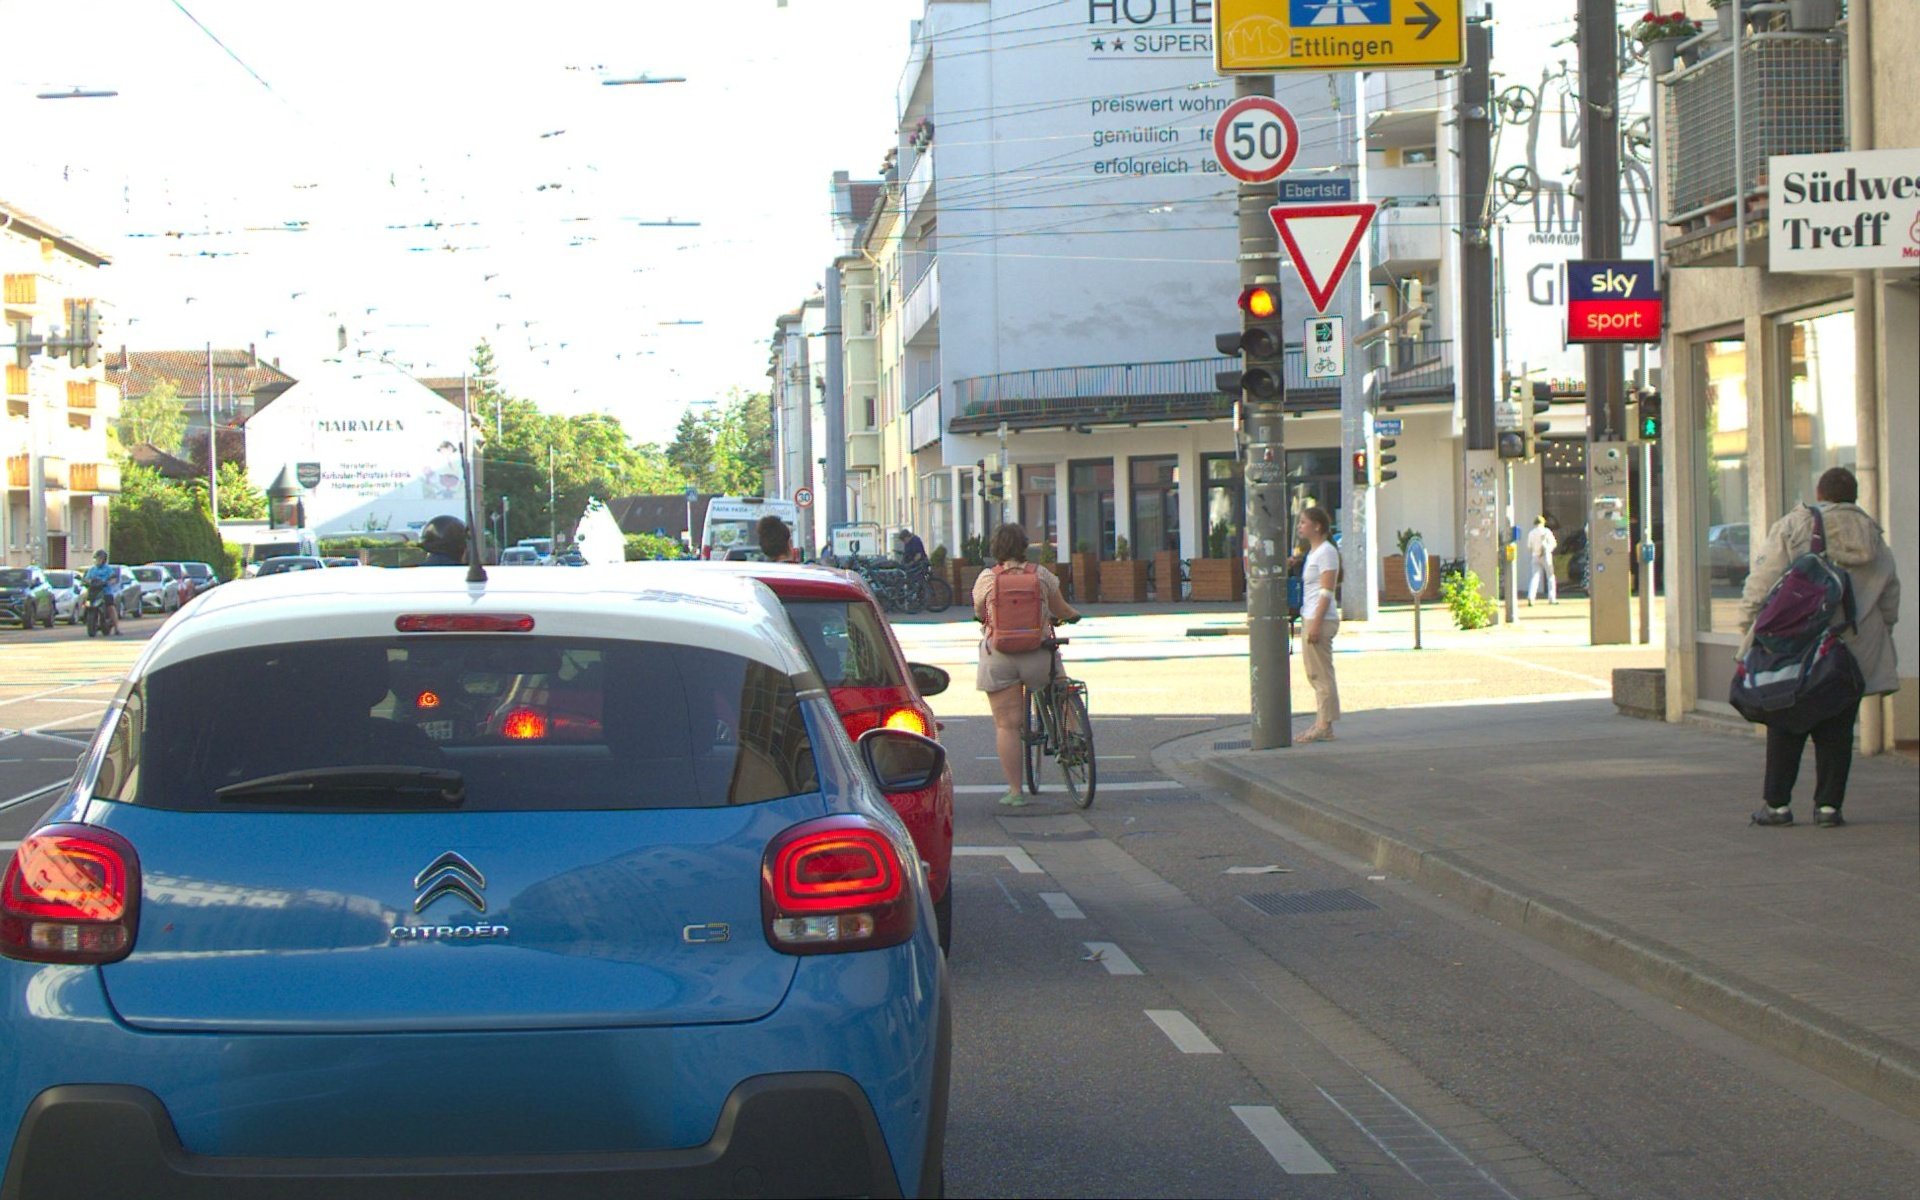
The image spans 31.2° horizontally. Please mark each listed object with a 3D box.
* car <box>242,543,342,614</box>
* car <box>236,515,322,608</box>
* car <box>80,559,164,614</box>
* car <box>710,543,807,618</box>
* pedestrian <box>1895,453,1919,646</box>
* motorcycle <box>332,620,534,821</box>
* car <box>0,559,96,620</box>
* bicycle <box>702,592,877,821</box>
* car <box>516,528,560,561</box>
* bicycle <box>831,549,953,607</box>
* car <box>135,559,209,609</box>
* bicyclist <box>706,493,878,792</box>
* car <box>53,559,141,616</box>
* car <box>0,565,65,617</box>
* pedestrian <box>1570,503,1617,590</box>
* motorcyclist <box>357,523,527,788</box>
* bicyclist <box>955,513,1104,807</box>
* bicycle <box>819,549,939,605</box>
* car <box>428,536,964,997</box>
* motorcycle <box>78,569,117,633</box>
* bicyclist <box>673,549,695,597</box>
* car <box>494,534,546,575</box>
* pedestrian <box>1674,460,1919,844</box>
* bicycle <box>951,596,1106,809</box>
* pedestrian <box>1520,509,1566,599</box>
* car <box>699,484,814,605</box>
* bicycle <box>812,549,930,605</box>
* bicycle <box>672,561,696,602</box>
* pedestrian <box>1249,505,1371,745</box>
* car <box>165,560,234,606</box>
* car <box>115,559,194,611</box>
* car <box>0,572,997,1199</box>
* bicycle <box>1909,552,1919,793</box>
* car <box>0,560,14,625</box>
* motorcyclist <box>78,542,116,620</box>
[{"bbox_3d":[-14.820,-0.488,76.433,1.778,1.481,3.829,-2,1,-5],"label":"car"},{"bbox_3d":[-23.557,-1.322,119.044,2.417,3.131,3.489,1,0,-3],"label":"car"},{"bbox_3d":[-24.971,-0.416,102.563,1.869,1.571,4.001,1,1,-6],"label":"car"},{"bbox_3d":[-4.001,-0.399,67.844,1.657,1.426,3.889,1,1,-7],"label":"car"},{"bbox_3d":[5.746,-0.295,19.348,0.623,1.084,0.679,-3,2,-37],"label":"pedestrian"},{"bbox_3d":[-2.965,0.656,19.532,0.855,1.043,1.942,1,1,-1],"label":"motorcycle"},{"bbox_3d":[-24.394,-0.303,92.077,1.869,1.571,4.001,1,1,-6],"label":"car"},{"bbox_3d":[-0.962,0.578,19.810,0.940,1.219,2.095,1,1,-2],"label":"bicycle"},{"bbox_3d":[-23.020,-3.027,187.834,2.074,1.756,5.037,1,1,-4],"label":"car"},{"bbox_3d":[-1.304,-0.426,65.811,2.251,0.998,0.856,-3,1,-5],"label":"bicycle"},{"bbox_3d":[-25.830,-0.530,112.748,1.869,1.571,4.001,1,1,-6],"label":"car"},{"bbox_3d":[-0.962,0.234,19.888,0.940,1.667,1.079,1,0,-2],"label":"bicyclist"},{"bbox_3d":[-24.606,-0.366,98.137,1.869,1.571,4.001,1,1,-6],"label":"car"},{"bbox_3d":[-23.801,-0.242,86.090,1.946,1.235,4.283,1,1,-5],"label":"car"},{"bbox_3d":[11.644,-0.982,63.202,0.611,1.603,0.668,1,0,34],"label":"pedestrian"},{"bbox_3d":[-2.966,0.307,19.742,0.855,1.483,0.729,1,0,-1],"label":"motorcyclist"},{"bbox_3d":[0.420,0.343,20.323,0.811,1.686,0.935,1,0,4],"label":"bicyclist"},{"bbox_3d":[-1.594,-0.454,67.178,2.251,0.998,0.856,-3,1,-5],"label":"bicycle"},{"bbox_3d":[-1.060,0.534,13.488,1.784,1.516,3.763,1,1,-5],"label":"car"},{"bbox_3d":[-16.803,0.028,66.983,0.711,1.216,1.966,-1,-1,-14],"label":"motorcycle"},{"bbox_3d":[-11.480,-1.124,143.050,0.791,2.018,0.986,1,0,1],"label":"bicyclist"},{"bbox_3d":[-21.740,-2.245,169.969,2.218,1.925,4.950,1,1,-4],"label":"car"},{"bbox_3d":[3.741,0.208,15.095,0.884,1.586,0.811,-4,2,-8],"label":"pedestrian"},{"bbox_3d":[0.431,0.579,20.517,0.811,1.177,2.064,1,1,4],"label":"bicycle"},{"bbox_3d":[10.382,-0.817,61.195,0.610,1.603,0.668,1,0,27],"label":"pedestrian"},{"bbox_3d":[-4.345,-1.164,72.823,2.265,2.473,5.009,0,1,-5],"label":"car"},{"bbox_3d":[-1.770,-0.461,68.292,2.251,0.998,0.856,-3,1,-5],"label":"bicycle"},{"bbox_3d":[-11.484,-0.783,143.051,0.791,1.664,2.230,1,0,1],"label":"bicycle"},{"bbox_3d":[2.459,0.170,24.114,0.540,1.618,0.732,-5,-1,21],"label":"pedestrian"},{"bbox_3d":[-26.303,-0.600,118.977,1.869,1.571,4.001,1,1,-6],"label":"car"},{"bbox_3d":[-25.225,-0.472,107.743,1.869,1.571,4.001,1,1,-6],"label":"car"},{"bbox_3d":[-0.825,0.676,7.185,1.736,1.447,3.662,0,1,2],"label":"car"},{"bbox_3d":[4.899,0.352,15.765,0.496,1.157,1.777,-1,0,-3],"label":"bicycle"},{"bbox_3d":[-23.182,-0.182,79.390,1.741,1.521,4.230,1,1,-4],"label":"car"},{"bbox_3d":[-16.849,-0.370,67.152,0.693,1.491,0.684,-1,-1,-14],"label":"motorcyclist"}]
